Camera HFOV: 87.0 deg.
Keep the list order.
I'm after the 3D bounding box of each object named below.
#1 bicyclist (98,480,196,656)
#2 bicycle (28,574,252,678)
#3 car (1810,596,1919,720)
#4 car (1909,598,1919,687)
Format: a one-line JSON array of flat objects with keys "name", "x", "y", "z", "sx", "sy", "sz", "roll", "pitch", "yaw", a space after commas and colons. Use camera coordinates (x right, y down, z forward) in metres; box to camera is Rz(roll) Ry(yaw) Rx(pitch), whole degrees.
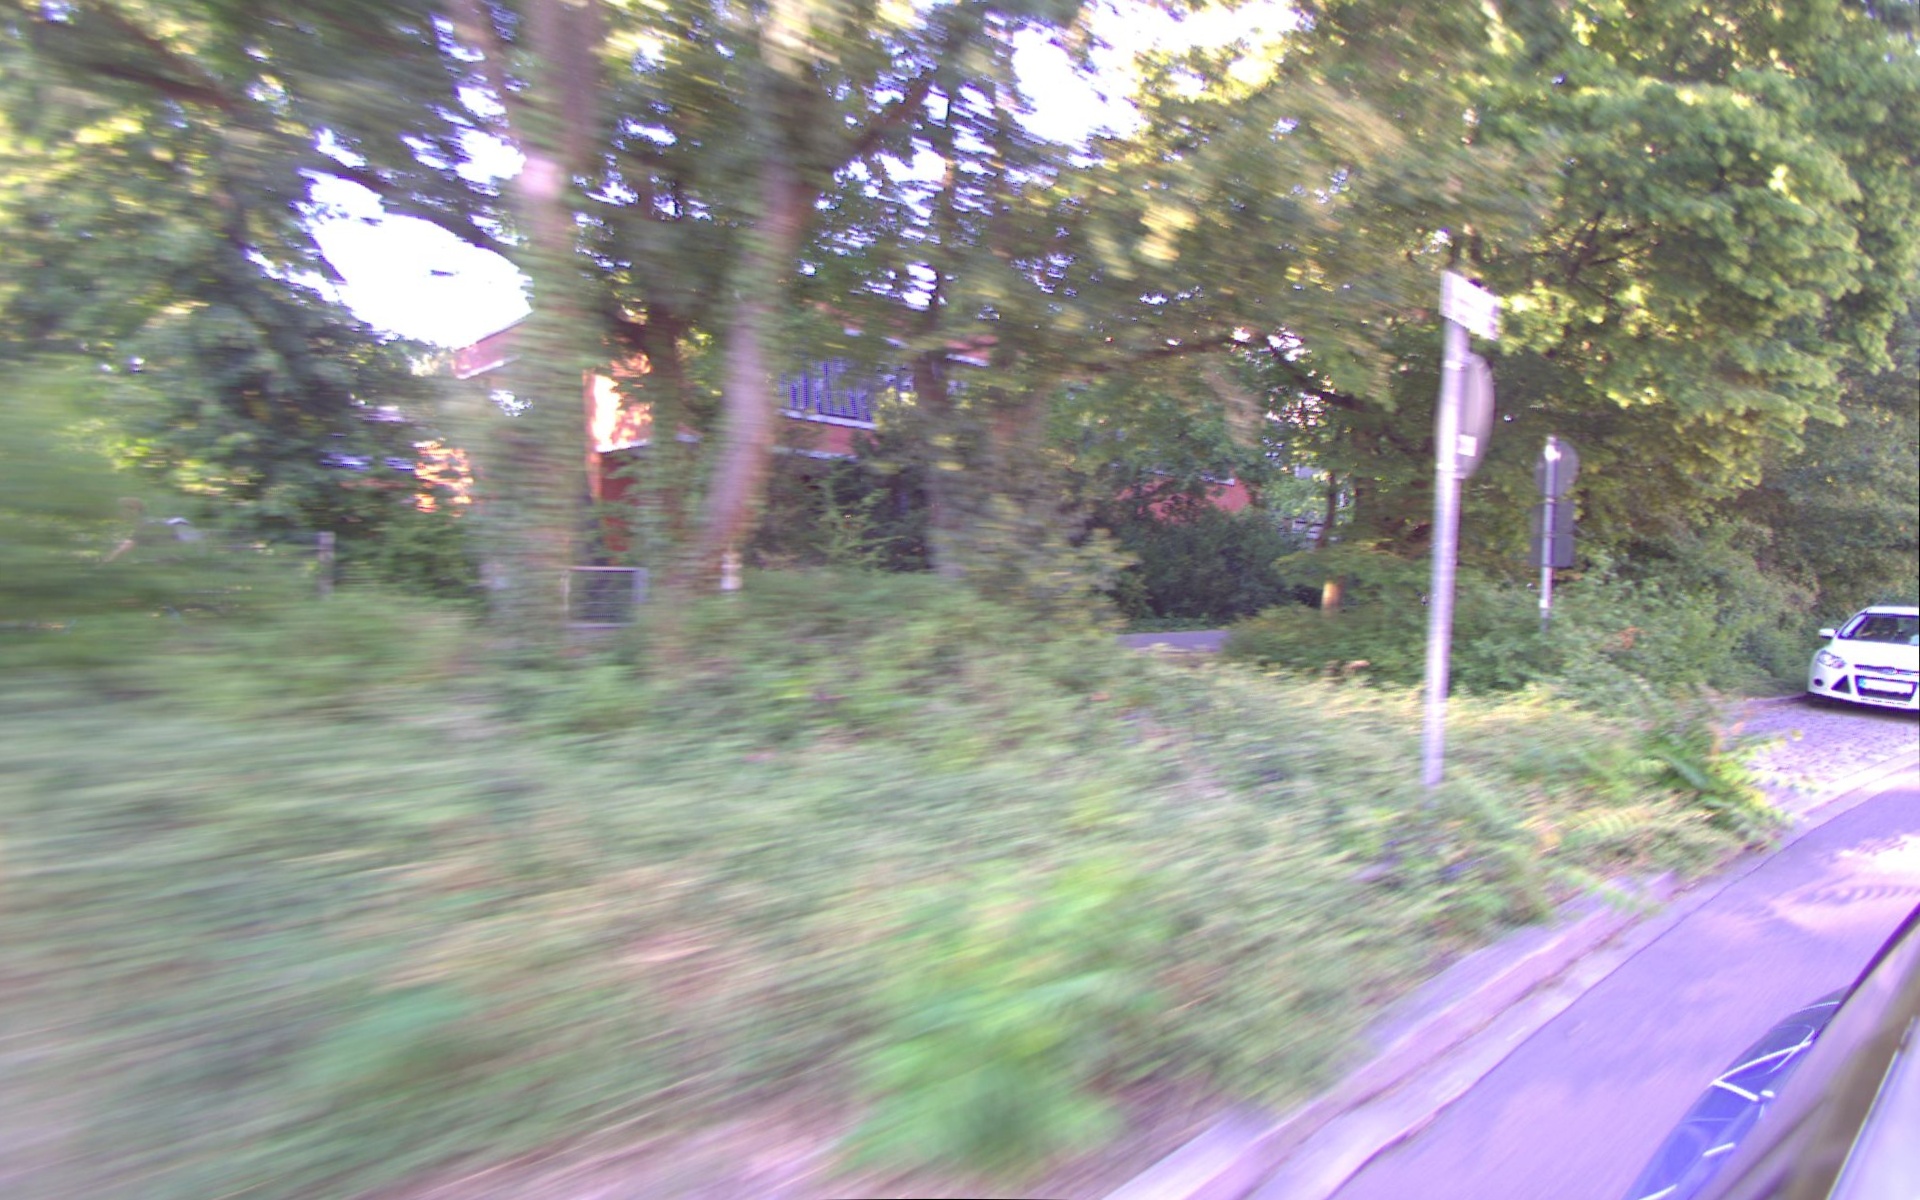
[{"name": "bicyclist", "x": -8.068, "y": -0.318, "z": 10.048, "sx": 0.712, "sy": 1.665, "sz": 0.532, "roll": 0, "pitch": 2, "yaw": -44}, {"name": "bicycle", "x": -8.103, "y": 0.233, "z": 10.055, "sx": 1.693, "sy": 0.929, "sz": 0.532, "roll": 0, "pitch": 3, "yaw": -44}, {"name": "car", "x": 13.527, "y": 0.751, "z": 14.150, "sx": 4.101, "sy": 1.505, "sz": 1.752, "roll": 0, "pitch": 2, "yaw": -40}, {"name": "car", "x": 18.548, "y": 0.769, "z": 18.122, "sx": 4.429, "sy": 1.505, "sz": 1.752, "roll": 0, "pitch": 2, "yaw": -41}]
